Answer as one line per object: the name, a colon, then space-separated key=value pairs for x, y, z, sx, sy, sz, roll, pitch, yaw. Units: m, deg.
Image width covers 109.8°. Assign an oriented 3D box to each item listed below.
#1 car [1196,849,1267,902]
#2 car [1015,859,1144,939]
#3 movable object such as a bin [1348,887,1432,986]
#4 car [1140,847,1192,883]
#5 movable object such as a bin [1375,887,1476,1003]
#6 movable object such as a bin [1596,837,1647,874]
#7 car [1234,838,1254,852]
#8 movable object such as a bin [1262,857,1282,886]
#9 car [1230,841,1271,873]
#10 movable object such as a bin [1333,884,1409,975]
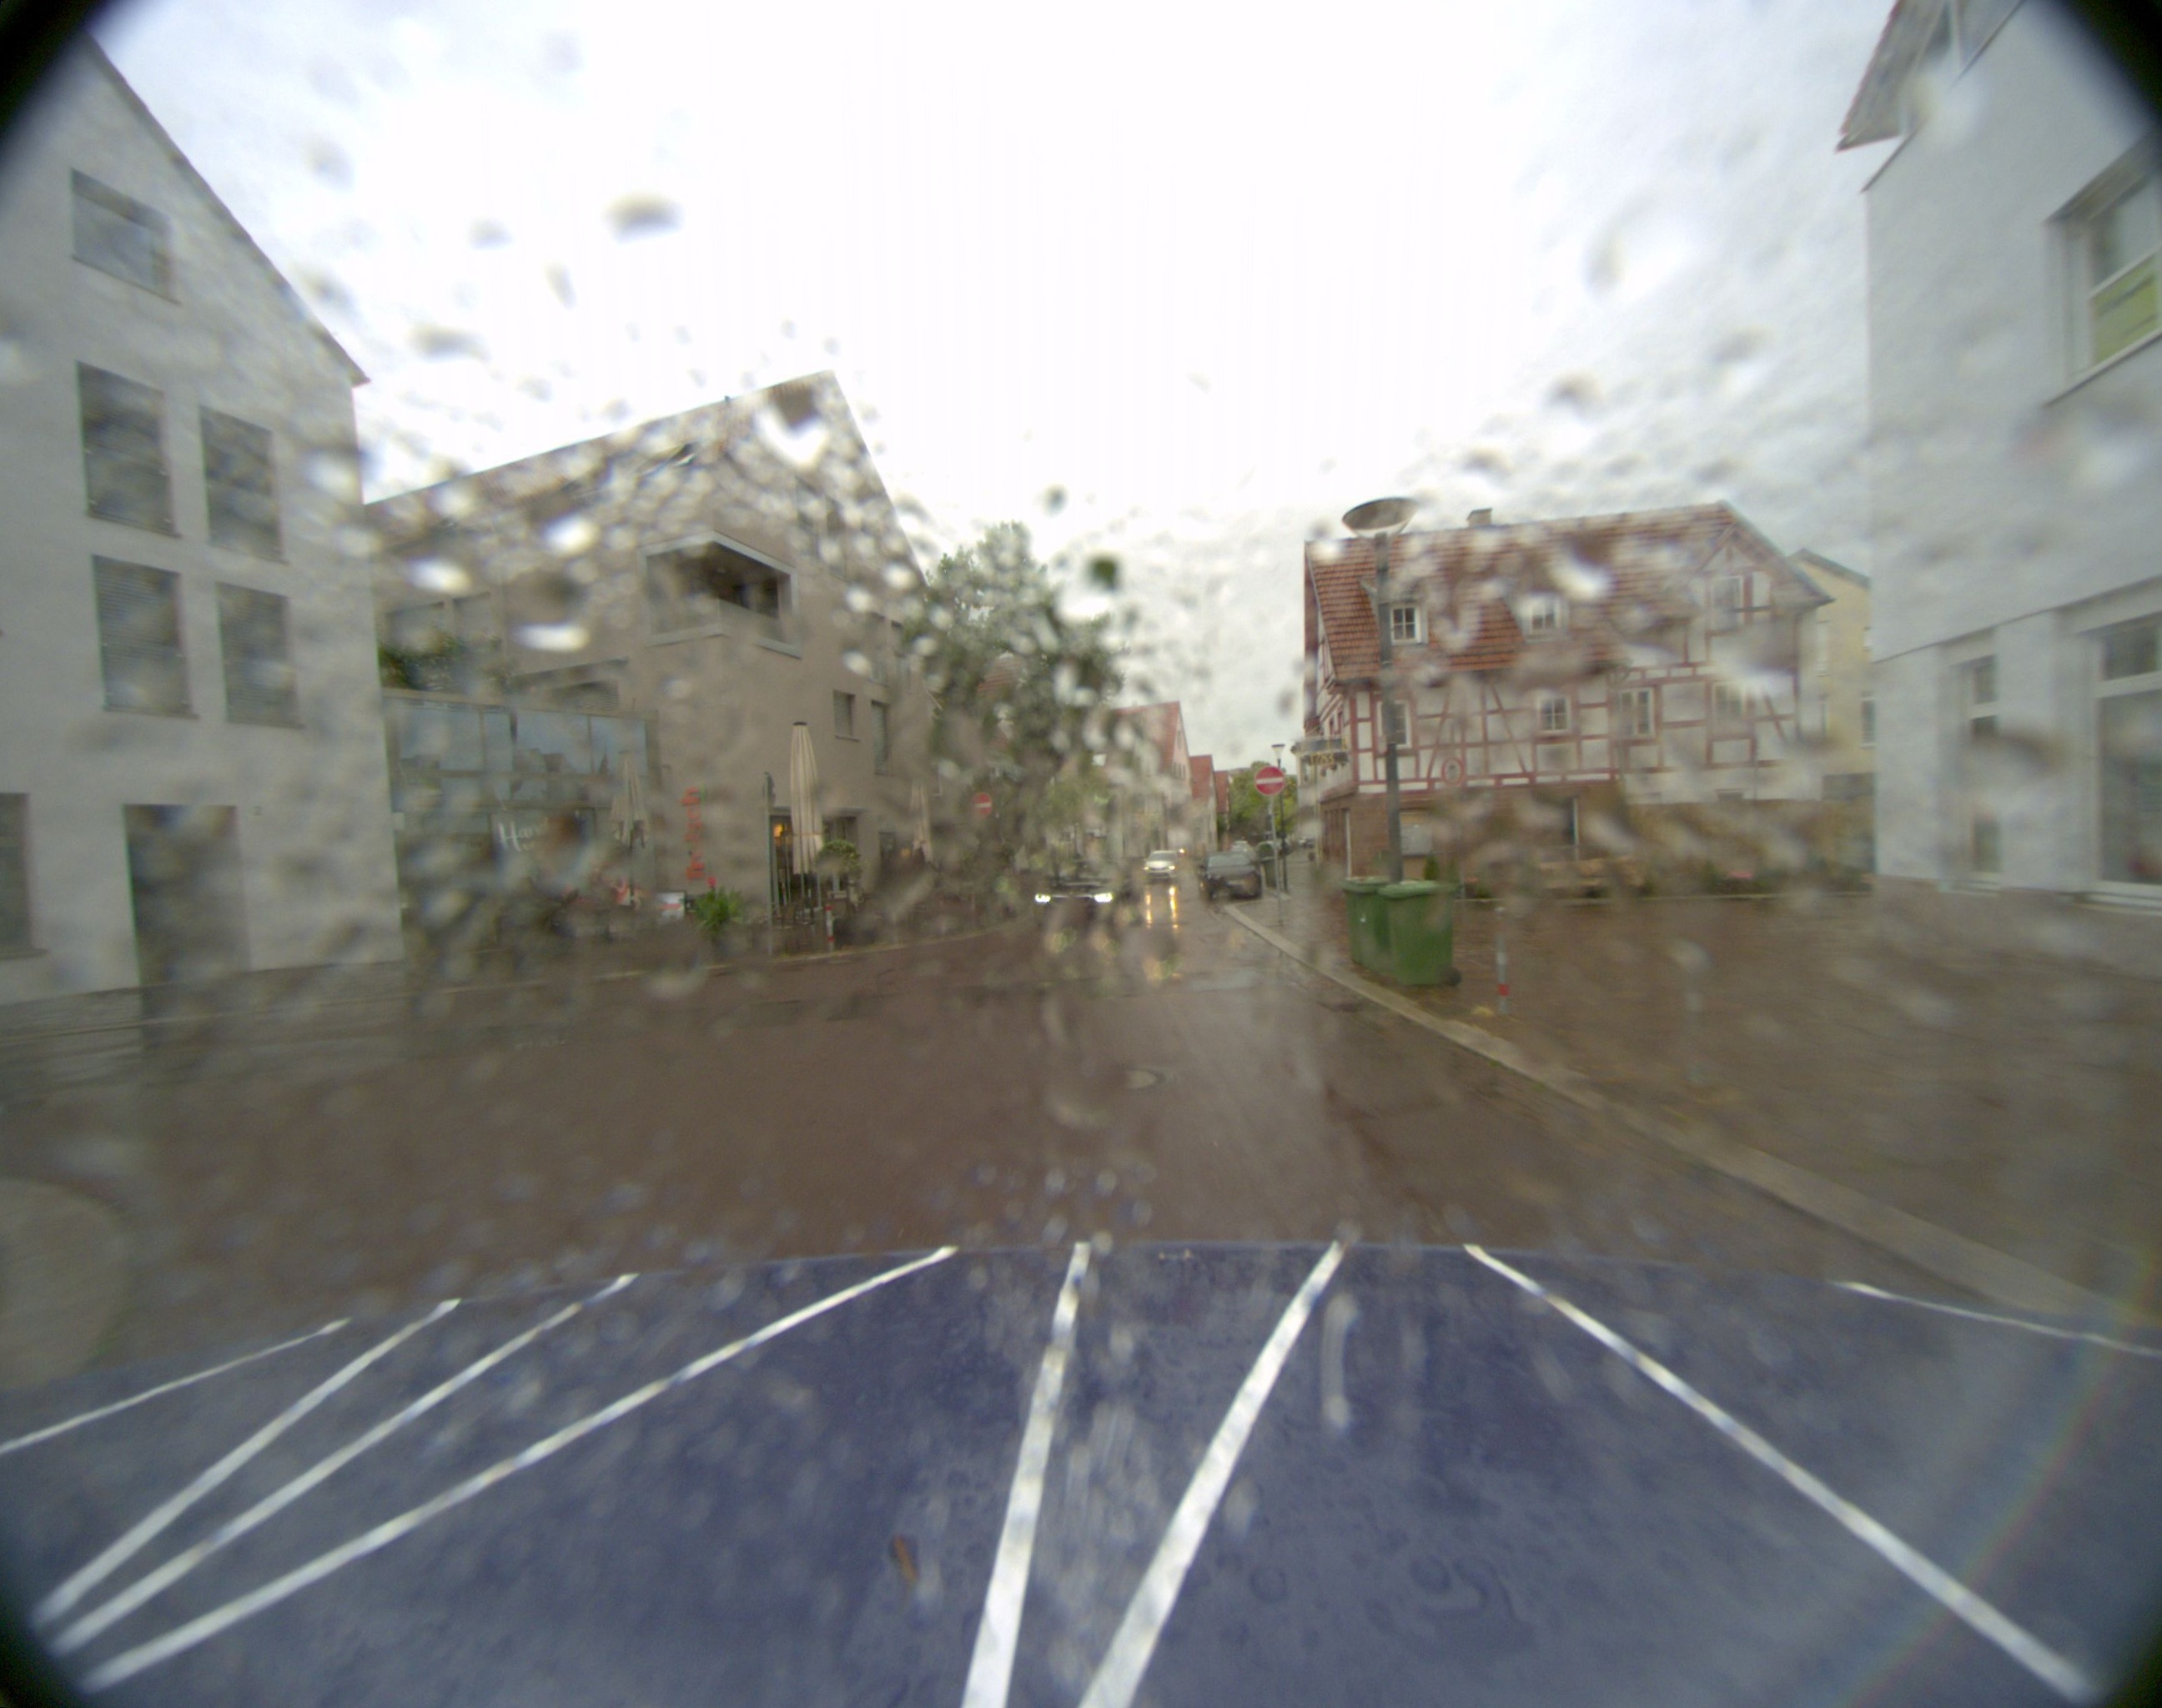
car: x=4.798 y=0.633 z=24.682 sx=1.806 sy=1.434 sz=4.001 roll=-4 pitch=1 yaw=6
car: x=0.140 y=0.900 z=16.865 sx=1.877 sy=1.362 sz=4.449 roll=-2 pitch=1 yaw=13
movable object such as a bin: x=3.570 y=0.936 z=8.814 sx=0.697 sy=1.045 sz=0.645 roll=-2 pitch=1 yaw=2
car: x=4.334 y=0.522 z=38.276 sx=1.866 sy=1.577 sz=4.619 roll=-2 pitch=1 yaw=15
movable object such as a bin: x=3.574 y=0.922 z=7.921 sx=0.697 sy=1.071 sz=0.645 roll=-5 pitch=1 yaw=2
movable object such as a bin: x=13.234 y=0.028 z=18.612 sx=0.709 sy=0.852 sz=0.756 roll=-2 pitch=1 yaw=2
car: x=17.738 y=-1.025 z=82.612 sx=1.865 sy=1.452 sz=4.004 roll=-2 pitch=1 yaw=16
movable object such as a bin: x=7.121 y=0.643 z=28.294 sx=0.612 sy=1.016 sz=0.530 roll=-2 pitch=2 yaw=2
car: x=9.021 y=0.143 z=40.205 sx=1.805 sy=1.434 sz=4.003 roll=-4 pitch=1 yaw=16
movable object such as a bin: x=3.600 y=0.930 z=9.479 sx=0.697 sy=1.041 sz=0.645 roll=-2 pitch=1 yaw=2
